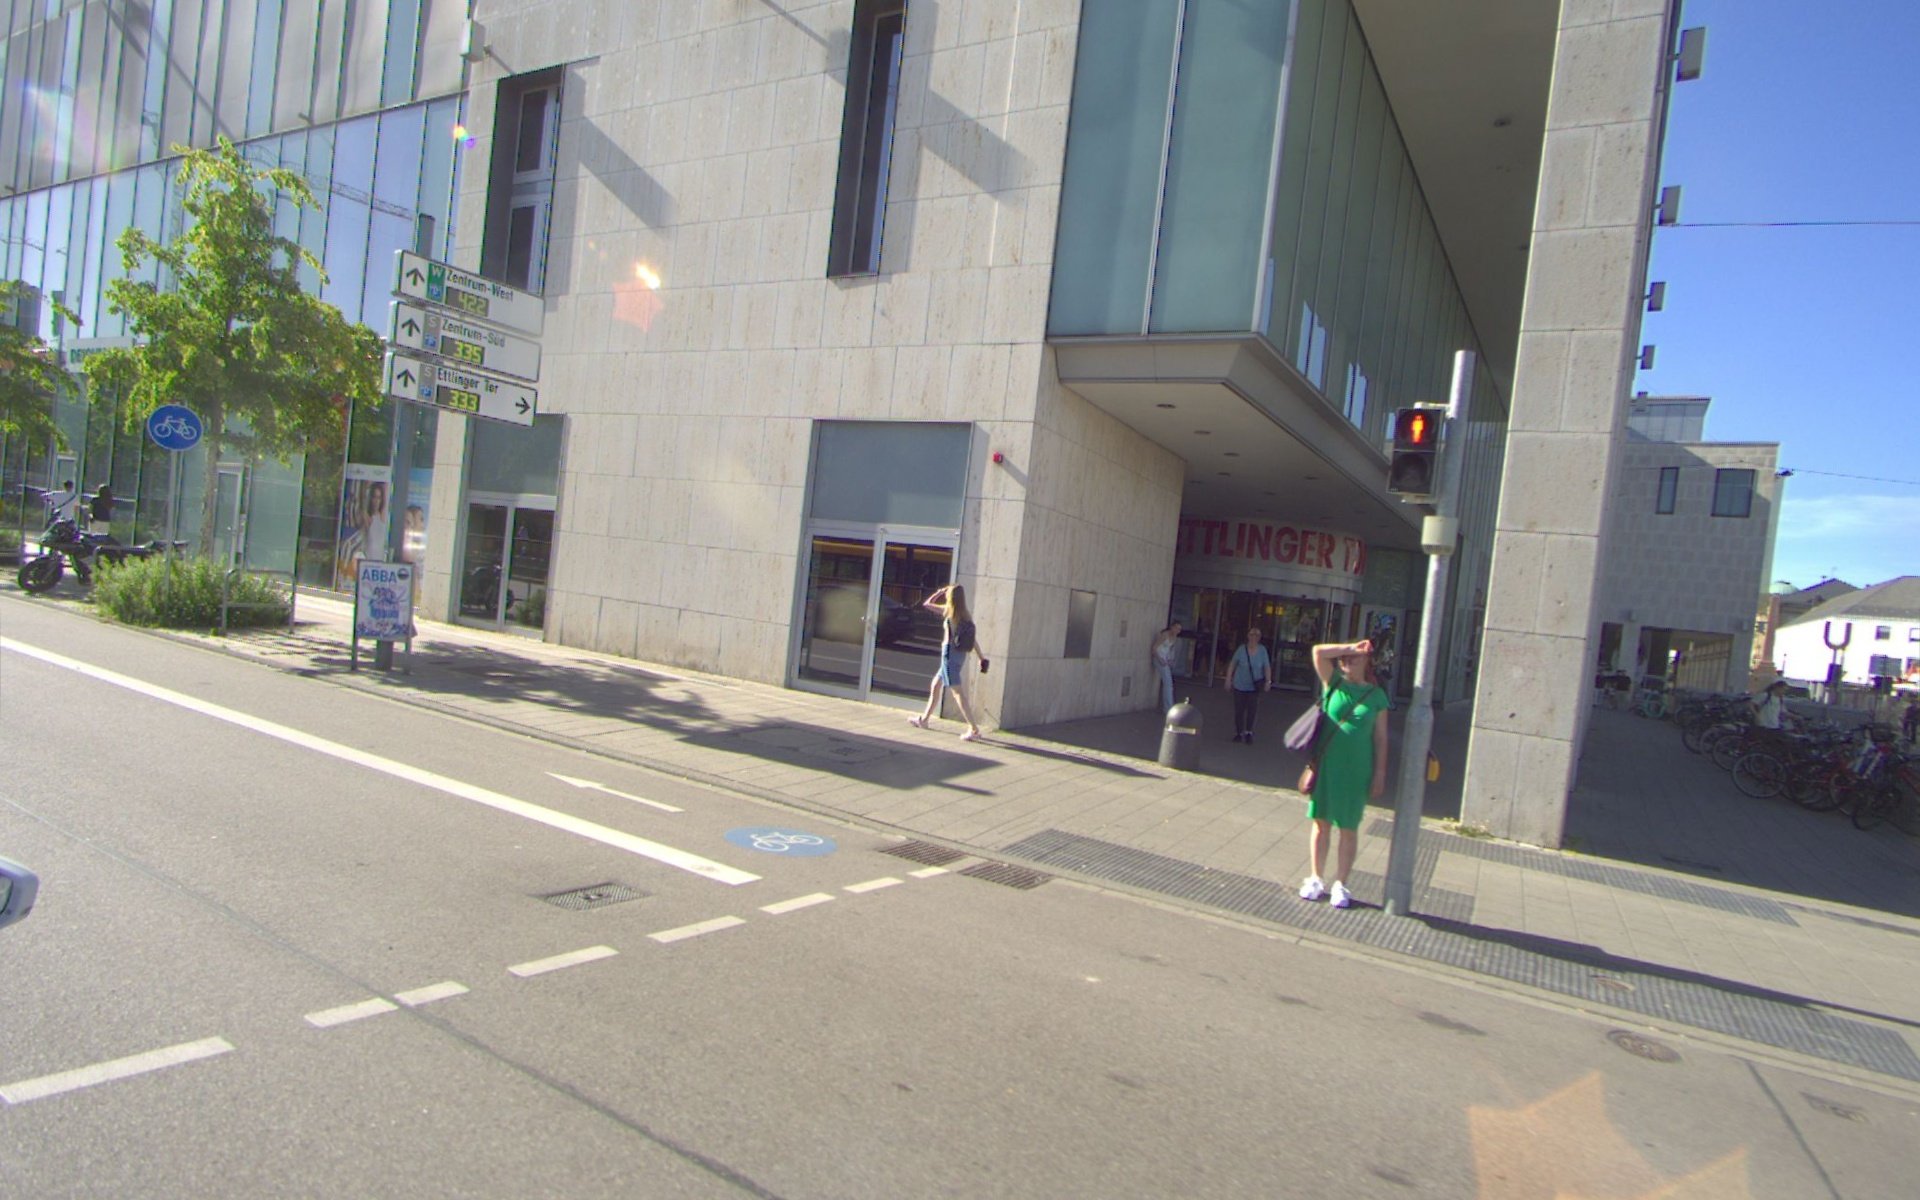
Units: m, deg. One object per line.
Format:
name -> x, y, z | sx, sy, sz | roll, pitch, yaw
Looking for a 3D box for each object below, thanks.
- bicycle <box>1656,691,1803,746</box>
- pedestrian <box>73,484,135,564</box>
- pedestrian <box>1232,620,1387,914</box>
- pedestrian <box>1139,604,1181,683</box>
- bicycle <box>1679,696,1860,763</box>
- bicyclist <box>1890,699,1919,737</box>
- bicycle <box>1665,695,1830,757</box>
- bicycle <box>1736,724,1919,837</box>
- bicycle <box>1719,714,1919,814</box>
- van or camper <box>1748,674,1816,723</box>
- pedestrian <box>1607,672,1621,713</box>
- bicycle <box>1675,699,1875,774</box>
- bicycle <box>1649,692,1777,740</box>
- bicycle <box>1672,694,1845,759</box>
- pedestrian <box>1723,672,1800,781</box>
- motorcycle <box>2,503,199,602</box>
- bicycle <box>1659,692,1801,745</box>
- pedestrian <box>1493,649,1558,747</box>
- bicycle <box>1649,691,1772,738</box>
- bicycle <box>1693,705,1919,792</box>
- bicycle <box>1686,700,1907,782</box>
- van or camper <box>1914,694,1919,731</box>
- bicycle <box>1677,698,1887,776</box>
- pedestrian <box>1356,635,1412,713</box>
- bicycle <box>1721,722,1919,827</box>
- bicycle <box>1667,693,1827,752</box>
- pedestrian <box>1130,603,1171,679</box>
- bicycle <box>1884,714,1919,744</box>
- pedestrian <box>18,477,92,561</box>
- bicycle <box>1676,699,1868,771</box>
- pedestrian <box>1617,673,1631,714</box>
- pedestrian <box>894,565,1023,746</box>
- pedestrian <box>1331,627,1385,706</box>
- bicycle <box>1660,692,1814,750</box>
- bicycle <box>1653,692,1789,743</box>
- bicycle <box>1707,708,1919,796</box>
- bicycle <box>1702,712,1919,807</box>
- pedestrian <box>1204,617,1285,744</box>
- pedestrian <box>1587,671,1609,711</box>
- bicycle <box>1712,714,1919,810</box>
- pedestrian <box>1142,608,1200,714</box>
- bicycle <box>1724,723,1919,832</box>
bicycle -> 23.879, 3.645, 31.335 | 3.440, 1.108, 1.067 | 7, 1, 32
pedestrian -> -19.362, -1.717, 22.751 | 0.884, 1.681, 0.707 | 7, 3, 25
pedestrian -> 2.286, 1.030, 6.561 | 0.686, 1.726, 0.657 | 7, 4, 28
pedestrian -> 4.780, 1.042, 24.109 | 0.639, 1.785, 0.555 | 7, 2, -7
bicycle -> 20.859, 3.305, 26.076 | 3.440, 1.108, 1.067 | 7, 1, 32
bicyclist -> 45.429, 5.679, 48.323 | 0.782, 1.691, 0.954 | 6, 1, 32
bicycle -> 21.897, 3.469, 28.121 | 3.440, 1.108, 1.067 | 7, 1, 32
bicycle -> 12.338, 2.469, 13.408 | 2.941, 1.108, 1.067 | 7, 1, 32
bicycle -> 14.501, 2.688, 16.204 | 3.439, 1.108, 1.067 | 7, 1, 32
van or camper -> 50.167, 5.960, 61.527 | 2.142, 2.545, 6.412 | 7, 1, 32
pedestrian -> 28.196, 3.985, 43.347 | 0.290, 1.705, 0.336 | 8, 2, 39
bicycle -> 19.021, 3.155, 23.640 | 3.440, 1.108, 1.067 | 7, 1, 32
bicycle -> 26.498, 4.074, 35.505 | 3.440, 1.108, 1.067 | 7, 1, 32
bicycle -> 21.380, 3.362, 27.098 | 3.440, 1.108, 1.067 | 7, 1, 32
pedestrian -> 15.248, 2.391, 19.154 | 0.726, 1.932, 0.637 | 7, 2, 7
motorcycle -> -13.751, -0.732, 16.165 | 0.888, 1.341, 2.189 | 7, 2, 33
bicycle -> 24.708, 3.797, 32.420 | 3.440, 1.108, 1.067 | 7, 1, 32
pedestrian -> 10.746, 1.838, 19.157 | 0.845, 1.705, 0.978 | 7, 1, 27
bicycle -> 27.395, 4.166, 36.845 | 3.440, 1.108, 1.067 | 7, 1, 32
bicycle -> 17.244, 2.980, 20.591 | 3.440, 1.108, 1.067 | 7, 1, 32
bicycle -> 17.813, 2.976, 21.607 | 3.440, 1.108, 1.067 | 7, 1, 32
van or camper -> 67.733, 7.933, 68.687 | 2.285, 2.545, 6.411 | 7, 1, 32
bicycle -> 18.365, 3.023, 22.656 | 3.440, 1.108, 1.067 | 7, 1, 32
pedestrian -> 9.982, 1.740, 23.720 | 0.679, 1.705, 0.784 | 6, 2, -27
bicycle -> 13.807, 2.715, 15.244 | 3.439, 1.108, 1.067 | 7, 1, 32
bicycle -> 22.622, 3.494, 29.058 | 3.440, 1.108, 1.067 | 7, 1, 32
pedestrian -> 4.681, 1.008, 24.794 | 0.639, 1.785, 0.555 | 7, 2, -7
bicycle -> 45.387, 6.166, 48.354 | 0.782, 1.229, 2.957 | 6, 0, 32
pedestrian -> -19.854, -1.768, 22.066 | 0.884, 1.679, 0.822 | 7, 1, 25
bicycle -> 19.714, 3.257, 24.576 | 3.440, 1.108, 1.067 | 7, 1, 32
pedestrian -> 28.459, 4.012, 43.107 | 0.290, 1.705, 0.336 | 8, 2, 39
pedestrian -> -0.018, 0.586, 11.132 | 1.048, 1.826, 0.728 | 7, 3, 30
pedestrian -> 9.257, 1.536, 23.392 | 0.671, 1.705, 0.731 | 6, 2, -27
bicycle -> 23.139, 3.582, 30.103 | 3.440, 1.108, 1.067 | 7, 1, 32
bicycle -> 25.266, 3.879, 33.519 | 3.440, 1.108, 1.067 | 7, 1, 32
bicycle -> 16.757, 2.932, 19.525 | 3.440, 1.108, 1.067 | 7, 1, 32
bicycle -> 15.727, 2.888, 18.279 | 3.440, 1.108, 1.067 | 7, 1, 32
pedestrian -> 3.973, 1.107, 14.053 | 0.737, 1.629, 0.724 | 8, 2, 30
pedestrian -> 28.071, 3.996, 44.262 | 0.563, 1.705, 0.536 | 7, 2, 23
bicycle -> 15.179, 2.801, 17.280 | 3.440, 1.108, 1.067 | 7, 1, 32
pedestrian -> 3.447, 0.993, 16.417 | 0.547, 1.629, 0.748 | 8, 2, 28
bicycle -> 13.141, 2.613, 14.285 | 3.439, 1.108, 1.067 | 7, 1, 32
